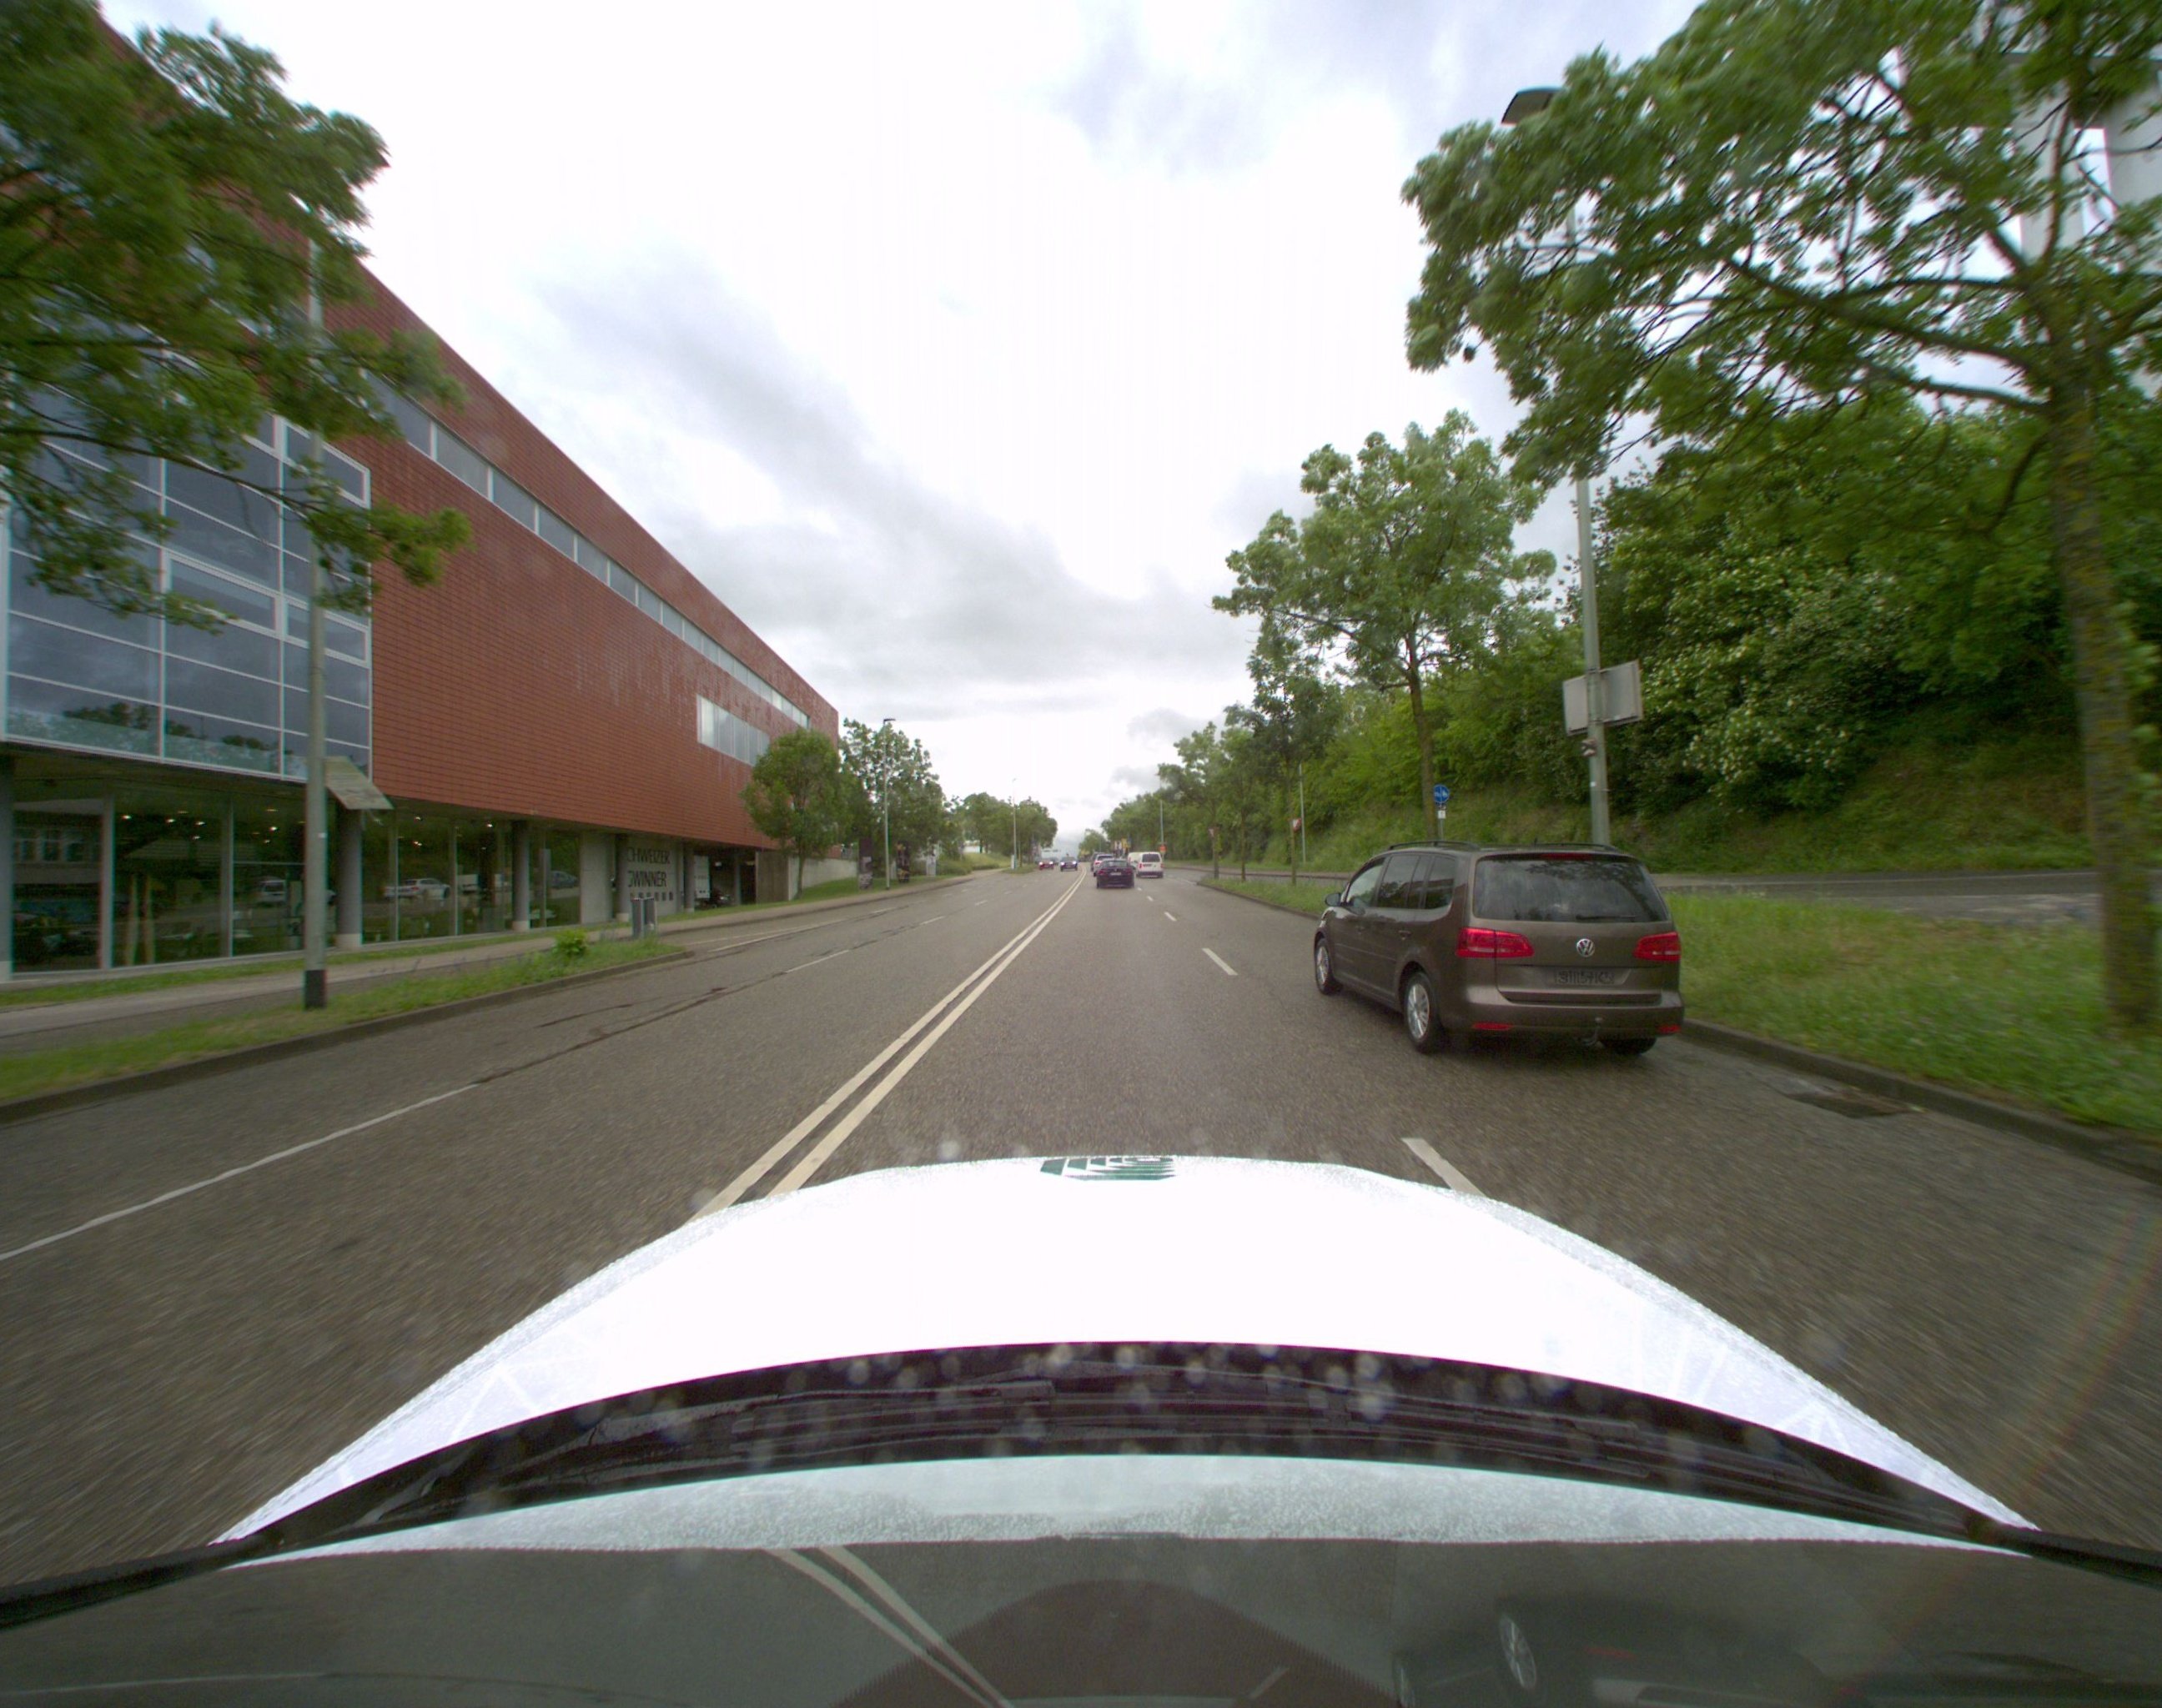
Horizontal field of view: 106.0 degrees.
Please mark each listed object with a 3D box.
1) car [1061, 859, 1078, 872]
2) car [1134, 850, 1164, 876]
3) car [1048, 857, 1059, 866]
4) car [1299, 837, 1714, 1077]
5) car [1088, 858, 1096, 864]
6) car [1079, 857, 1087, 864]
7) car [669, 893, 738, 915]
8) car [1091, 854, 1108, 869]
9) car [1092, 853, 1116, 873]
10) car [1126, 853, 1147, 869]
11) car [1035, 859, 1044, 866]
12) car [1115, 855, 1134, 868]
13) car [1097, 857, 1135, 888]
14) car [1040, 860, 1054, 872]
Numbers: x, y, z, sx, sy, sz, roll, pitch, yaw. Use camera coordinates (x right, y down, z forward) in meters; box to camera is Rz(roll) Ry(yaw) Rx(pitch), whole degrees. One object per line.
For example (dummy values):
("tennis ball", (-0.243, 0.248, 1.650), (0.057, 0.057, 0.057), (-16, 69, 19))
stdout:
("car", (-1.306, 1.297, 91.035), (1.789, 1.510, 3.997), (0, -1, -2))
("car", (4.763, 0.592, 57.257), (1.821, 1.759, 4.000), (0, 0, 0))
("car", (-4.733, 1.259, 140.349), (1.789, 1.510, 3.997), (0, -1, -2))
("car", (3.382, 0.687, 7.506), (1.679, 1.581, 4.219), (0, 0, 1))
("car", (2.638, 1.715, 198.725), (1.788, 1.510, 3.999), (0, -1, 0))
("car", (0.395, 1.528, 187.594), (1.788, 1.510, 3.999), (0, -1, 0))
("car", (-23.241, 3.102, 50.246), (3.520, 1.284, 1.522), (0, -1, 4))
("car", (1.920, 0.744, 83.674), (1.787, 1.510, 4.001), (0, -1, 1))
("car", (1.779, 0.719, 63.142), (1.788, 1.510, 4.000), (0, -1, 0))
("car", (5.321, 0.724, 78.788), (1.788, 1.510, 4.000), (0, -1, 0))
("car", (-8.522, 1.712, 167.123), (1.789, 1.510, 3.997), (0, -1, -2))
("car", (4.969, 0.853, 93.509), (1.789, 1.510, 3.997), (0, -1, -2))
("car", (1.765, 0.897, 41.017), (1.820, 1.468, 4.002), (-1, 0, 2))
("car", (-4.464, 1.574, 107.190), (1.789, 1.510, 3.997), (0, -1, -2))
